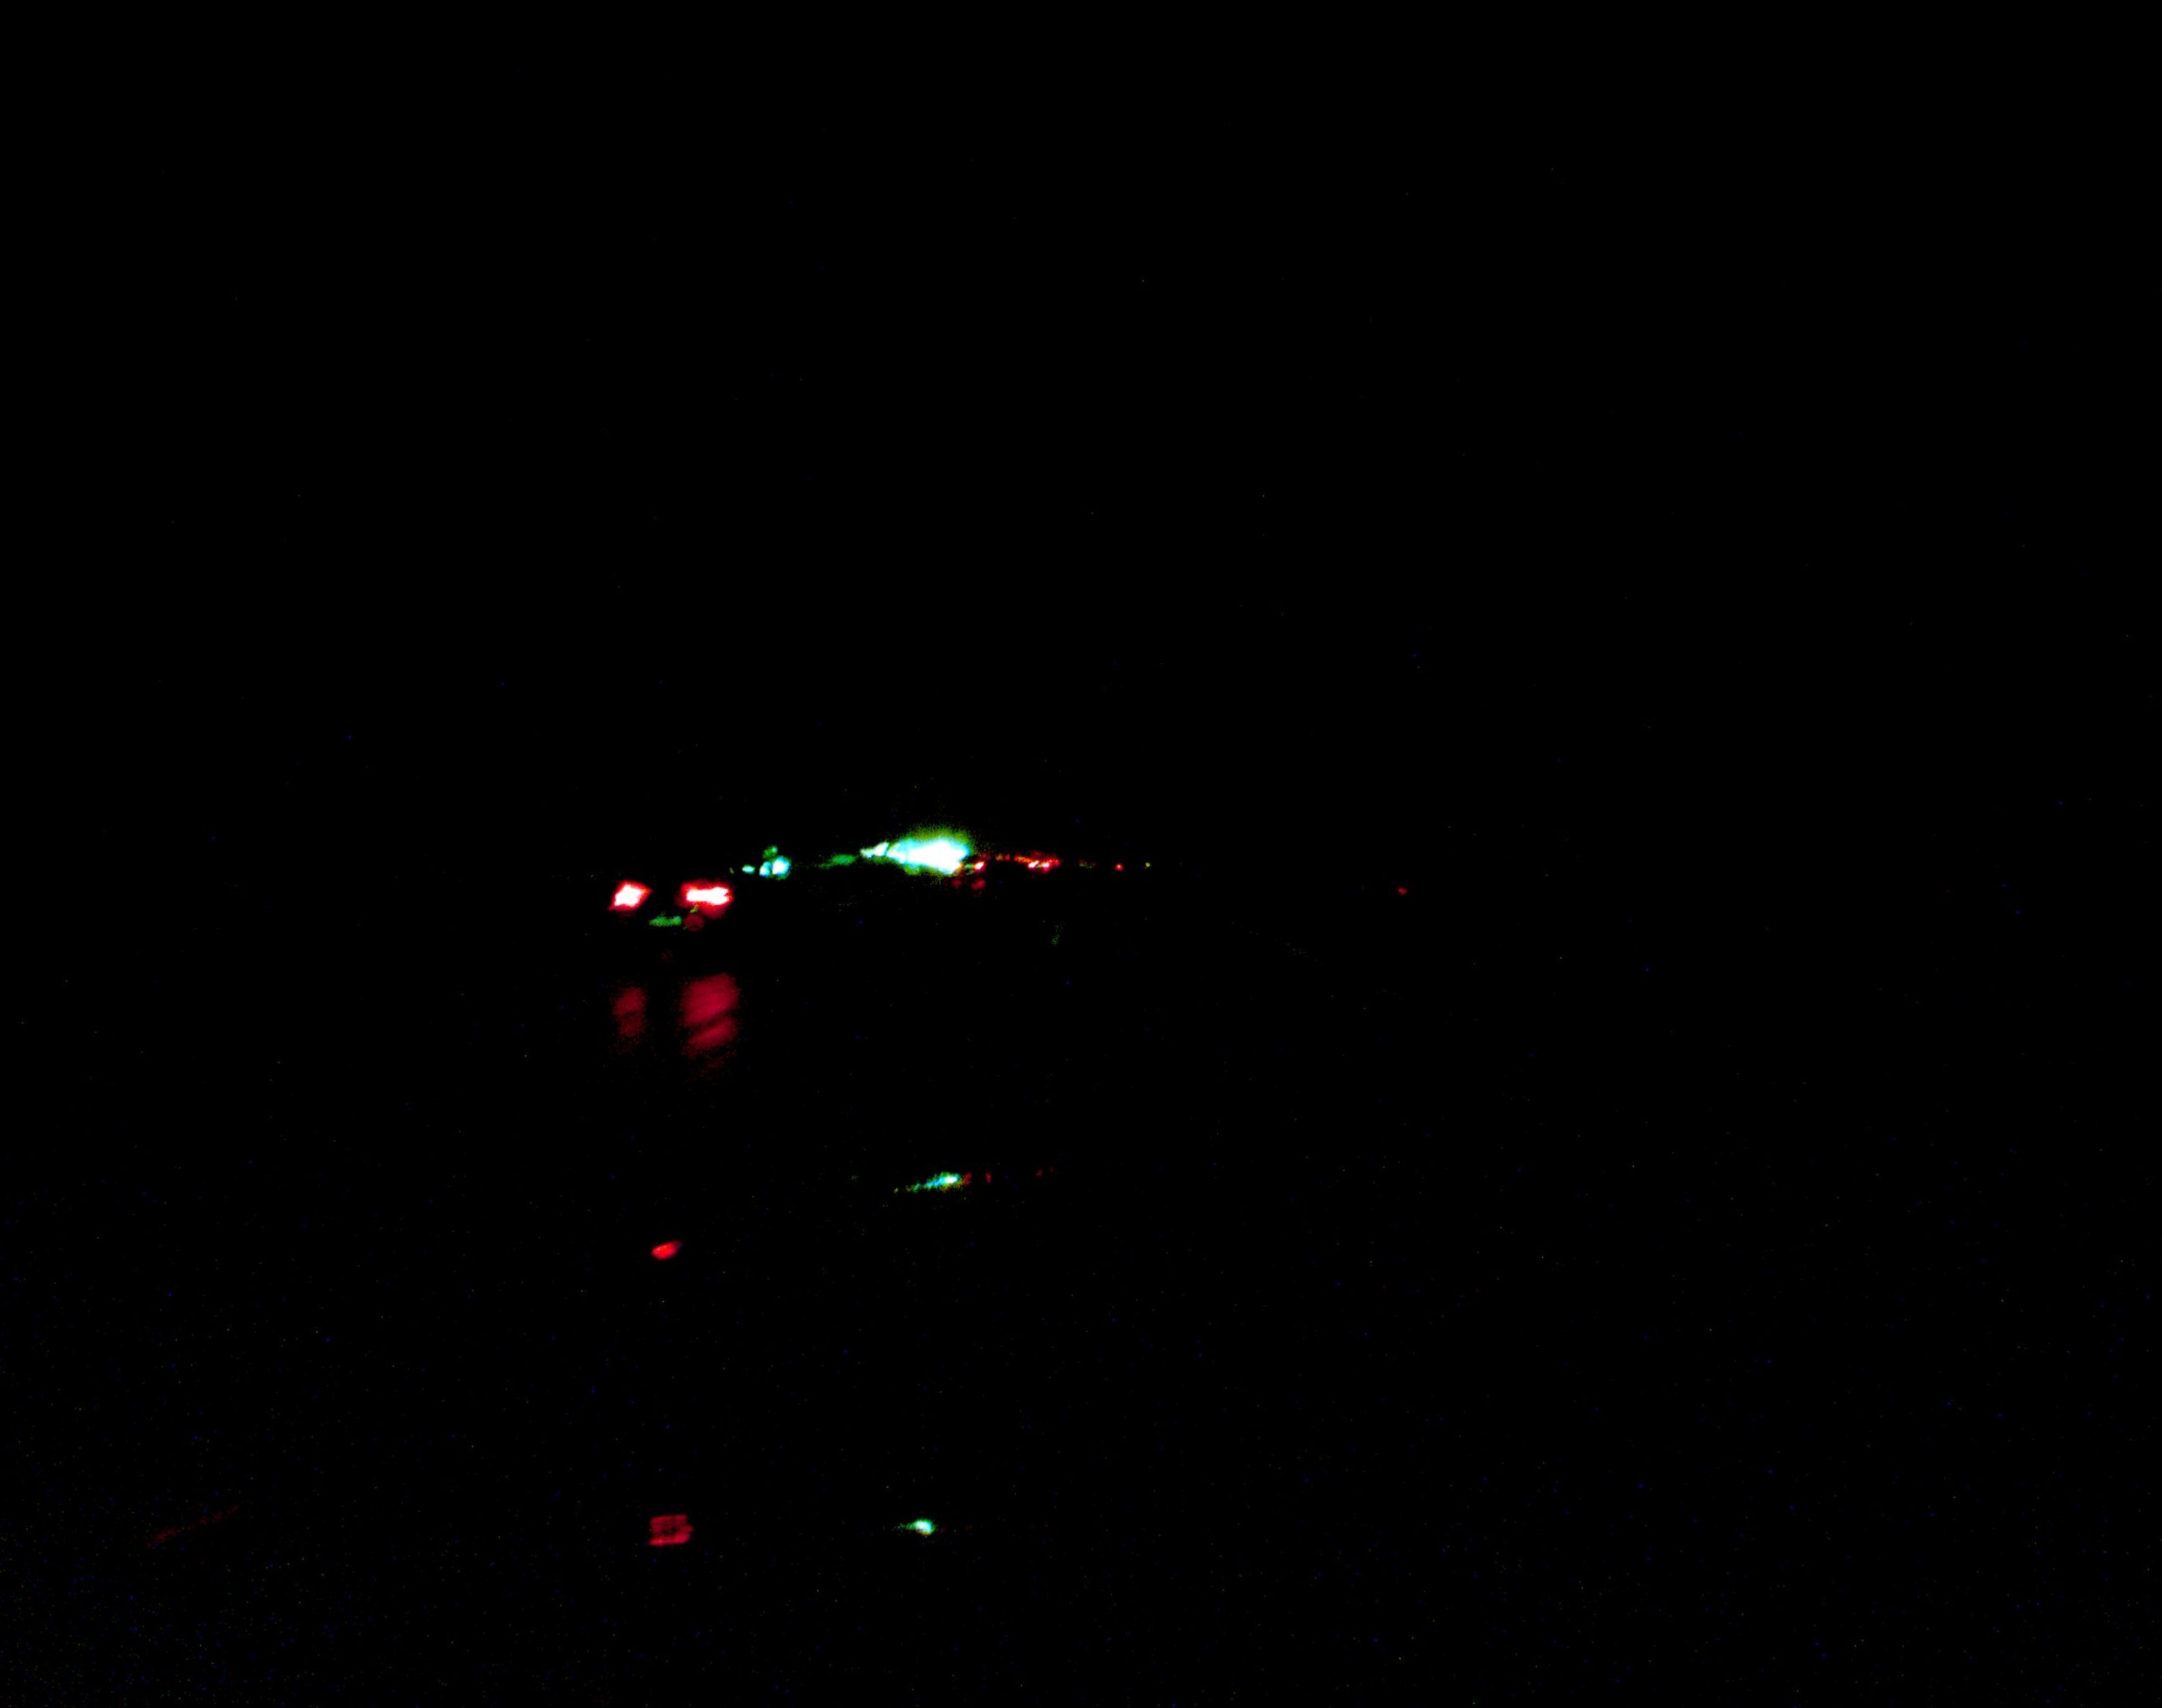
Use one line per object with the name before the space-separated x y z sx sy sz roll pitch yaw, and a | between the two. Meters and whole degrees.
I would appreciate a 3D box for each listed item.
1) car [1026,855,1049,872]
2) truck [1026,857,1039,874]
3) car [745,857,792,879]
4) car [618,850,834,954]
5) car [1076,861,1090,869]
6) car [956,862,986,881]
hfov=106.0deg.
car | -3.804 0.825 72.118 1.796 1.487 3.999 1 0 -1
truck | -8.832 2.059 147.333 1.991 3.043 6.450 0 -2 -6
car | -19.113 0.833 49.976 1.400 1.266 4.069 0 0 -2
car | -6.259 0.774 15.091 1.852 1.541 4.749 3 -1 -1
car | 0.276 1.795 130.186 1.581 1.246 3.056 3 -2 -11
car | -7.434 1.169 55.314 1.658 1.236 3.757 0 -2 -3
